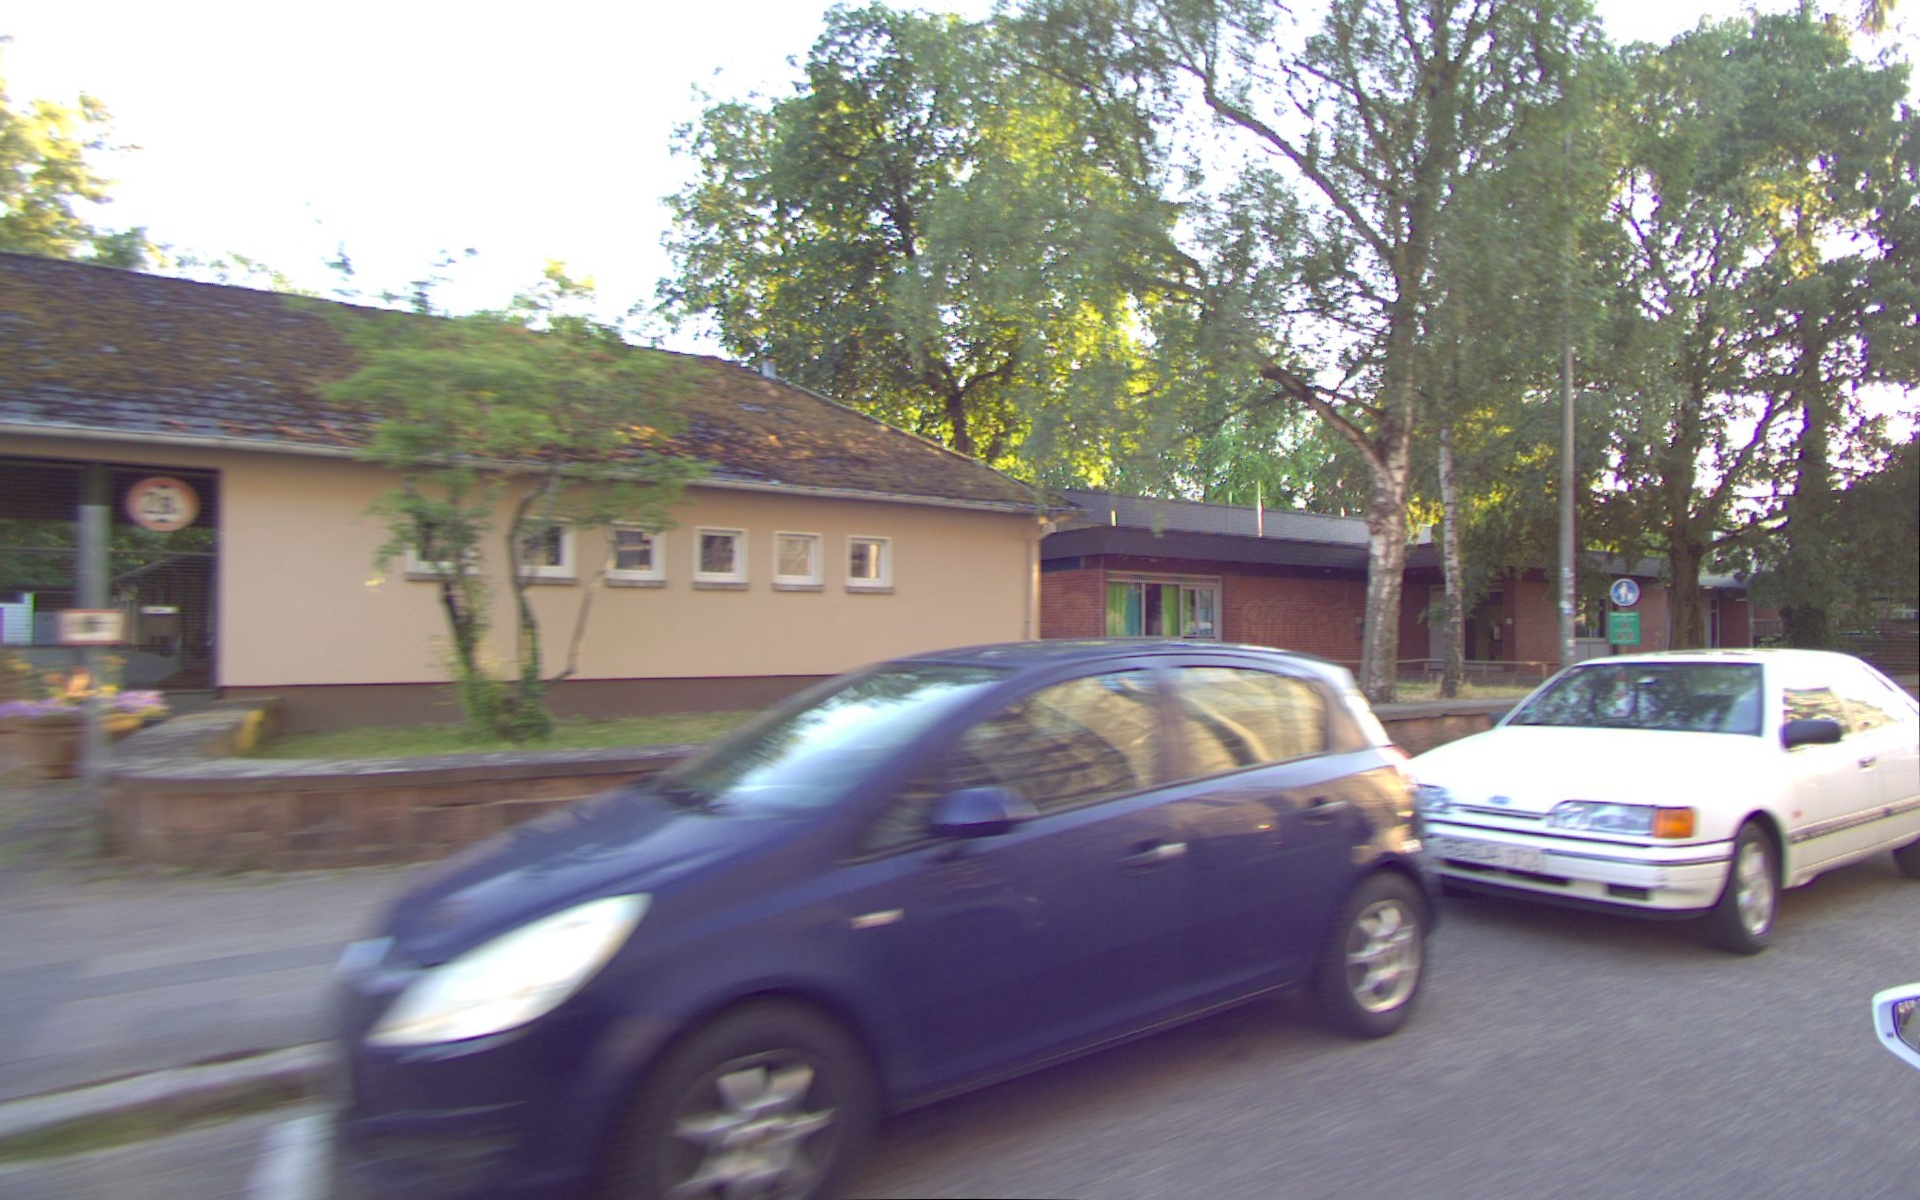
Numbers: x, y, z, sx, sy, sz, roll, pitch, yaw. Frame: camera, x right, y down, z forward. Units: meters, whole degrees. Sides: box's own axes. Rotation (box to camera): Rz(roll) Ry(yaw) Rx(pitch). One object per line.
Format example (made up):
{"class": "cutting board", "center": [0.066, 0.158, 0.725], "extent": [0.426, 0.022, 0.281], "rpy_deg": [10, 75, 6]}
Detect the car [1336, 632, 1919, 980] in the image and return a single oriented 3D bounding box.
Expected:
{"class": "car", "center": [4.640, 0.973, 6.277], "extent": [4.695, 1.464, 1.773], "rpy_deg": [1, -4, -32]}

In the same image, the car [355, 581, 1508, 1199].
{"class": "car", "center": [0.062, 0.749, 3.816], "extent": [3.959, 1.472, 1.981], "rpy_deg": [1, -1, -34]}

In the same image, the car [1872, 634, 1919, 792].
{"class": "car", "center": [11.767, 1.139, 10.659], "extent": [4.705, 1.558, 1.850], "rpy_deg": [1, -3, -32]}
